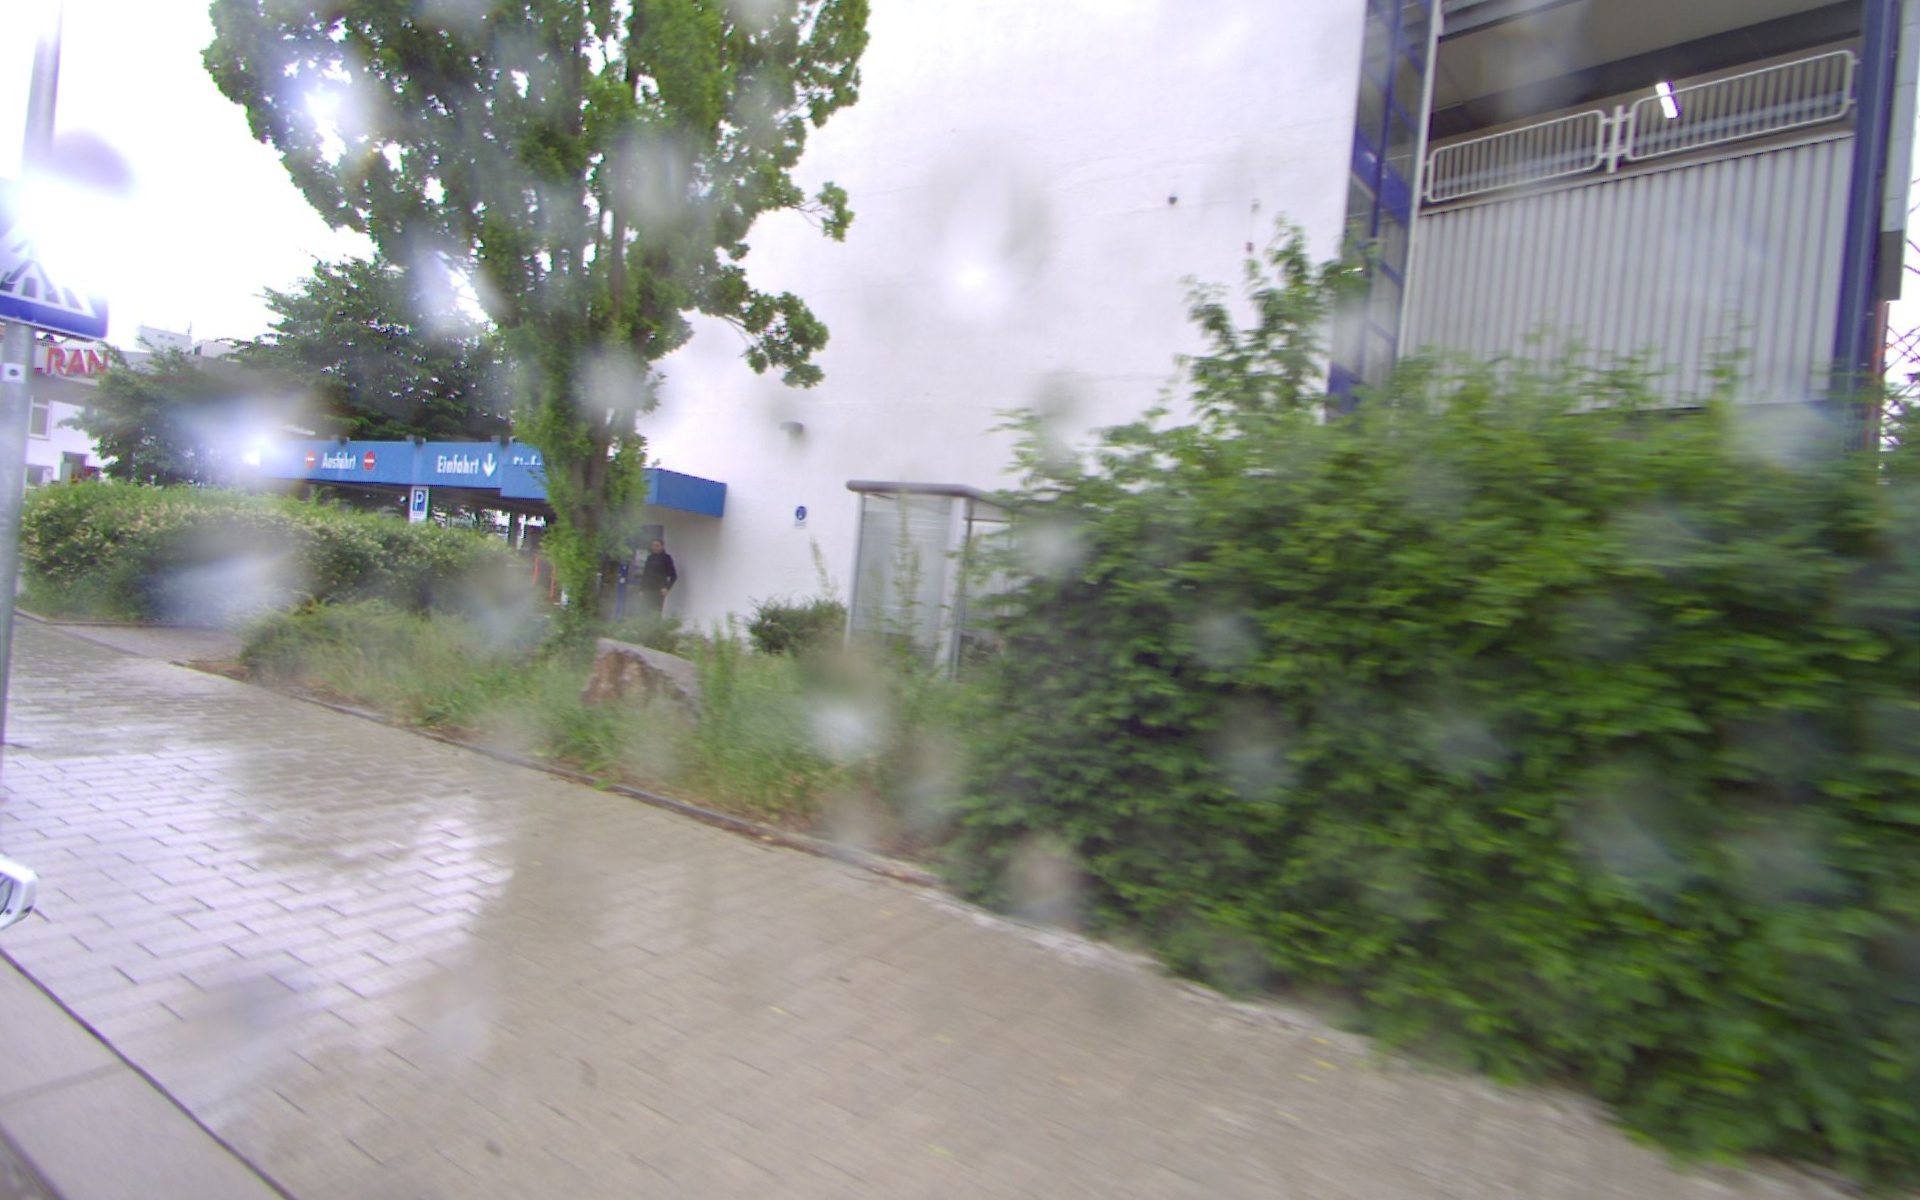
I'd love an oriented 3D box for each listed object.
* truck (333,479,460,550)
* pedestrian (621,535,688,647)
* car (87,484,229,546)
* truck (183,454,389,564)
[{"bbox_3d":[-20.684,-3.138,36.932,3.929,2.035,2.002,5,-4,26],"label":"truck"},{"bbox_3d":[-5.358,-0.156,17.653,0.759,1.858,0.570,7,0,29],"label":"pedestrian"},{"bbox_3d":[-29.194,-3.062,36.739,1.917,1.573,3.532,6,-2,12],"label":"car"},{"bbox_3d":[-31.070,-4.061,46.879,2.629,3.480,7.763,6,-4,16],"label":"truck"}]
